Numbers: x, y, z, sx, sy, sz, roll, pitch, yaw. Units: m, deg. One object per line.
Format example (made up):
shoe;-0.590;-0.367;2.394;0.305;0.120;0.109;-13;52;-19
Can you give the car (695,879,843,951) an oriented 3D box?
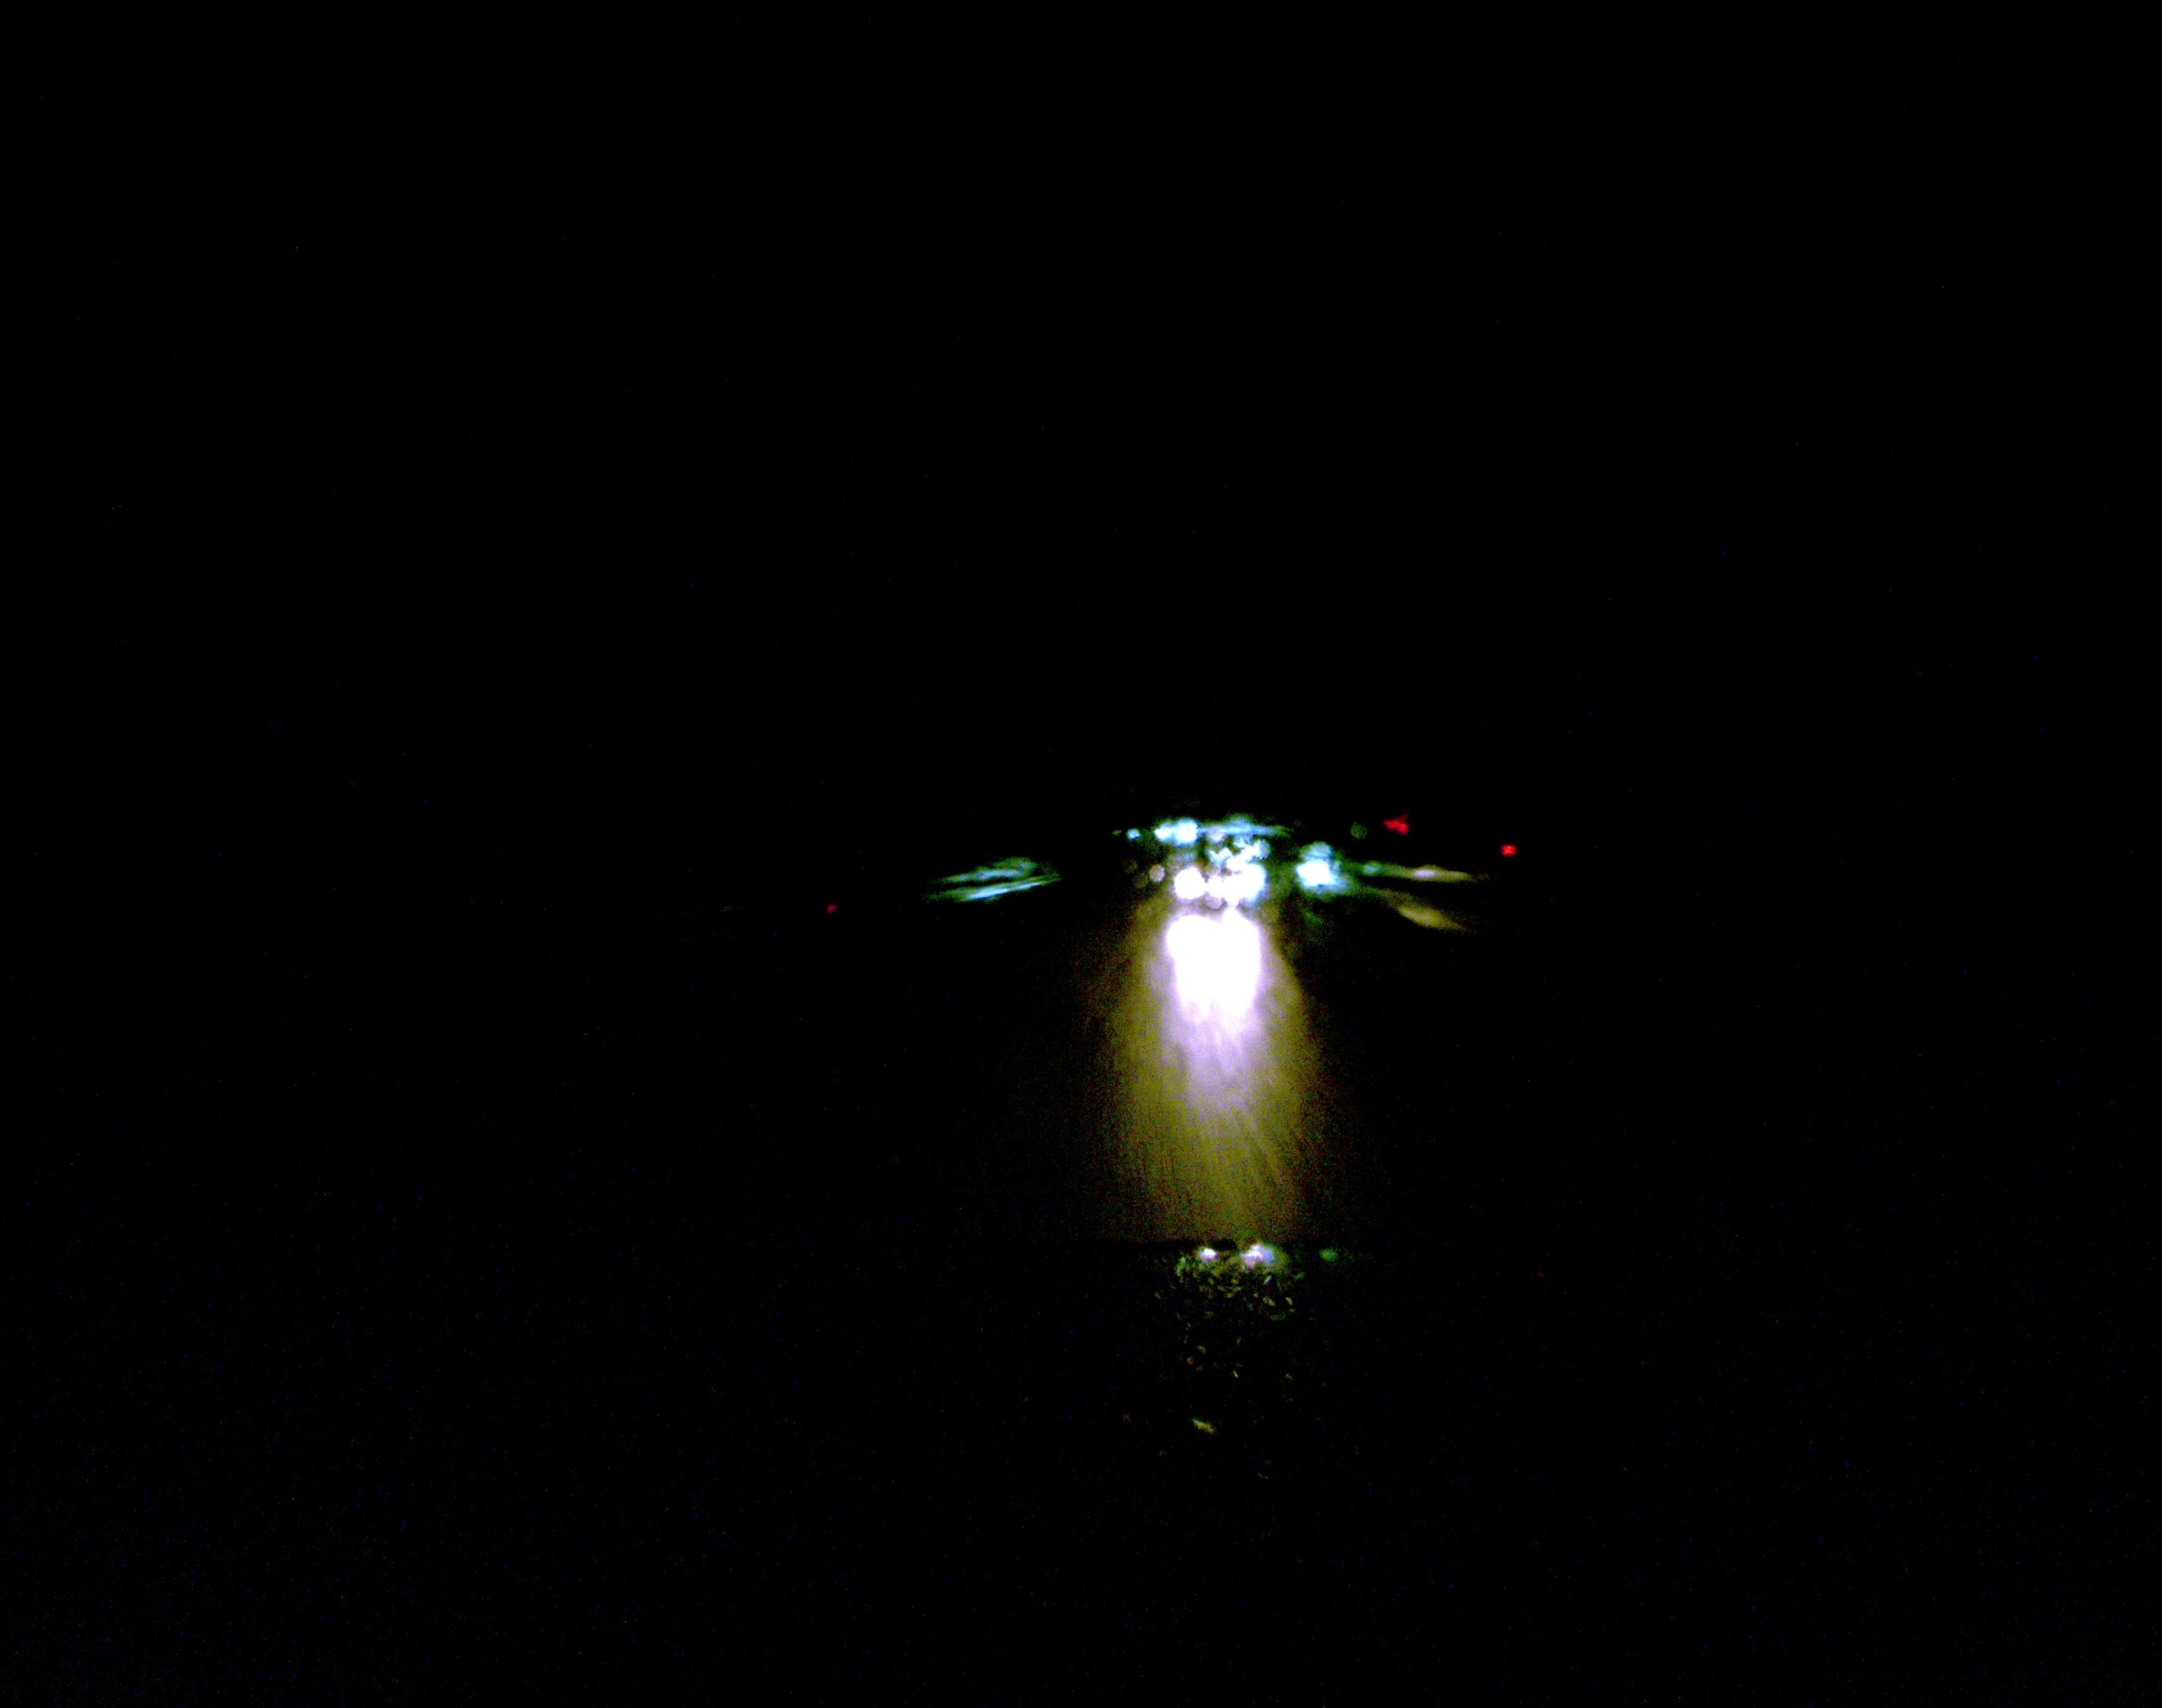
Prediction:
car;-9.816;1.886;24.286;1.738;1.674;4.125;-6;1;25

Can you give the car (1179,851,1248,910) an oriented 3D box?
car;3.759;0.656;21.103;1.685;1.442;3.645;0;1;13

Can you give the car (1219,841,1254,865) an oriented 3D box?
car;9.325;-0.080;45.377;1.758;1.304;4.089;-2;1;15

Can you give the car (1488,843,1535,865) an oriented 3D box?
car;35.276;0.005;62.422;1.744;1.418;4.098;-3;4;4

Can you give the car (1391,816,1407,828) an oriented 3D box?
car;44.977;-4.534;107.522;1.760;1.483;4.047;-1;5;19
